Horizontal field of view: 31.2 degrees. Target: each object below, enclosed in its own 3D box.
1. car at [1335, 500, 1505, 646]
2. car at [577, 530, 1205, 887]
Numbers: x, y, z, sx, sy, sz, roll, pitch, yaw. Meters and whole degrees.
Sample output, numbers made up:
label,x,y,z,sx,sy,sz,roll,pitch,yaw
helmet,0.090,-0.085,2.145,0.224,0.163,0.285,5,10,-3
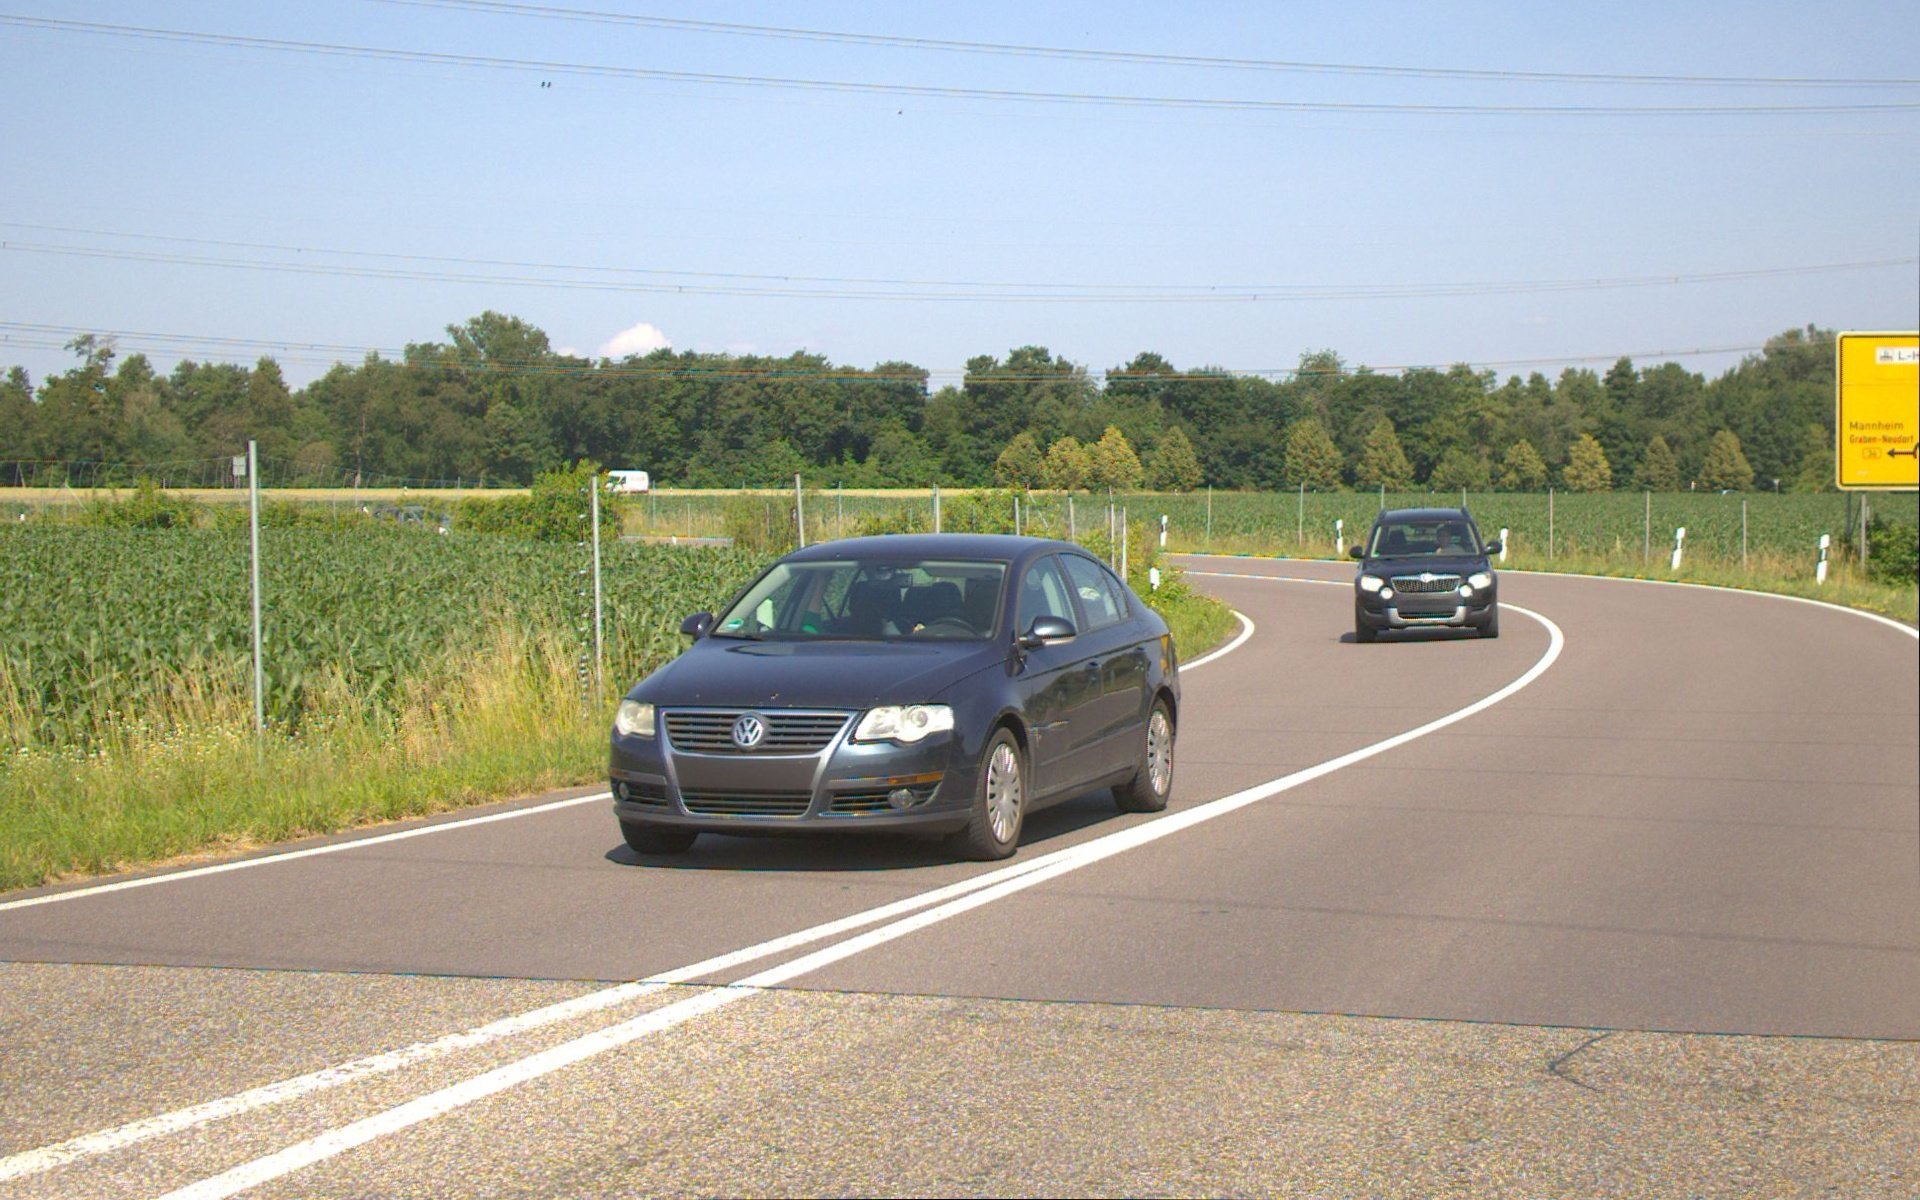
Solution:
label,x,y,z,sx,sy,sz,roll,pitch,yaw
car,5.870,-0.390,44.252,1.984,1.700,4.261,-3,1,6
car,-0.155,0.409,16.725,1.776,1.451,4.589,0,1,16
